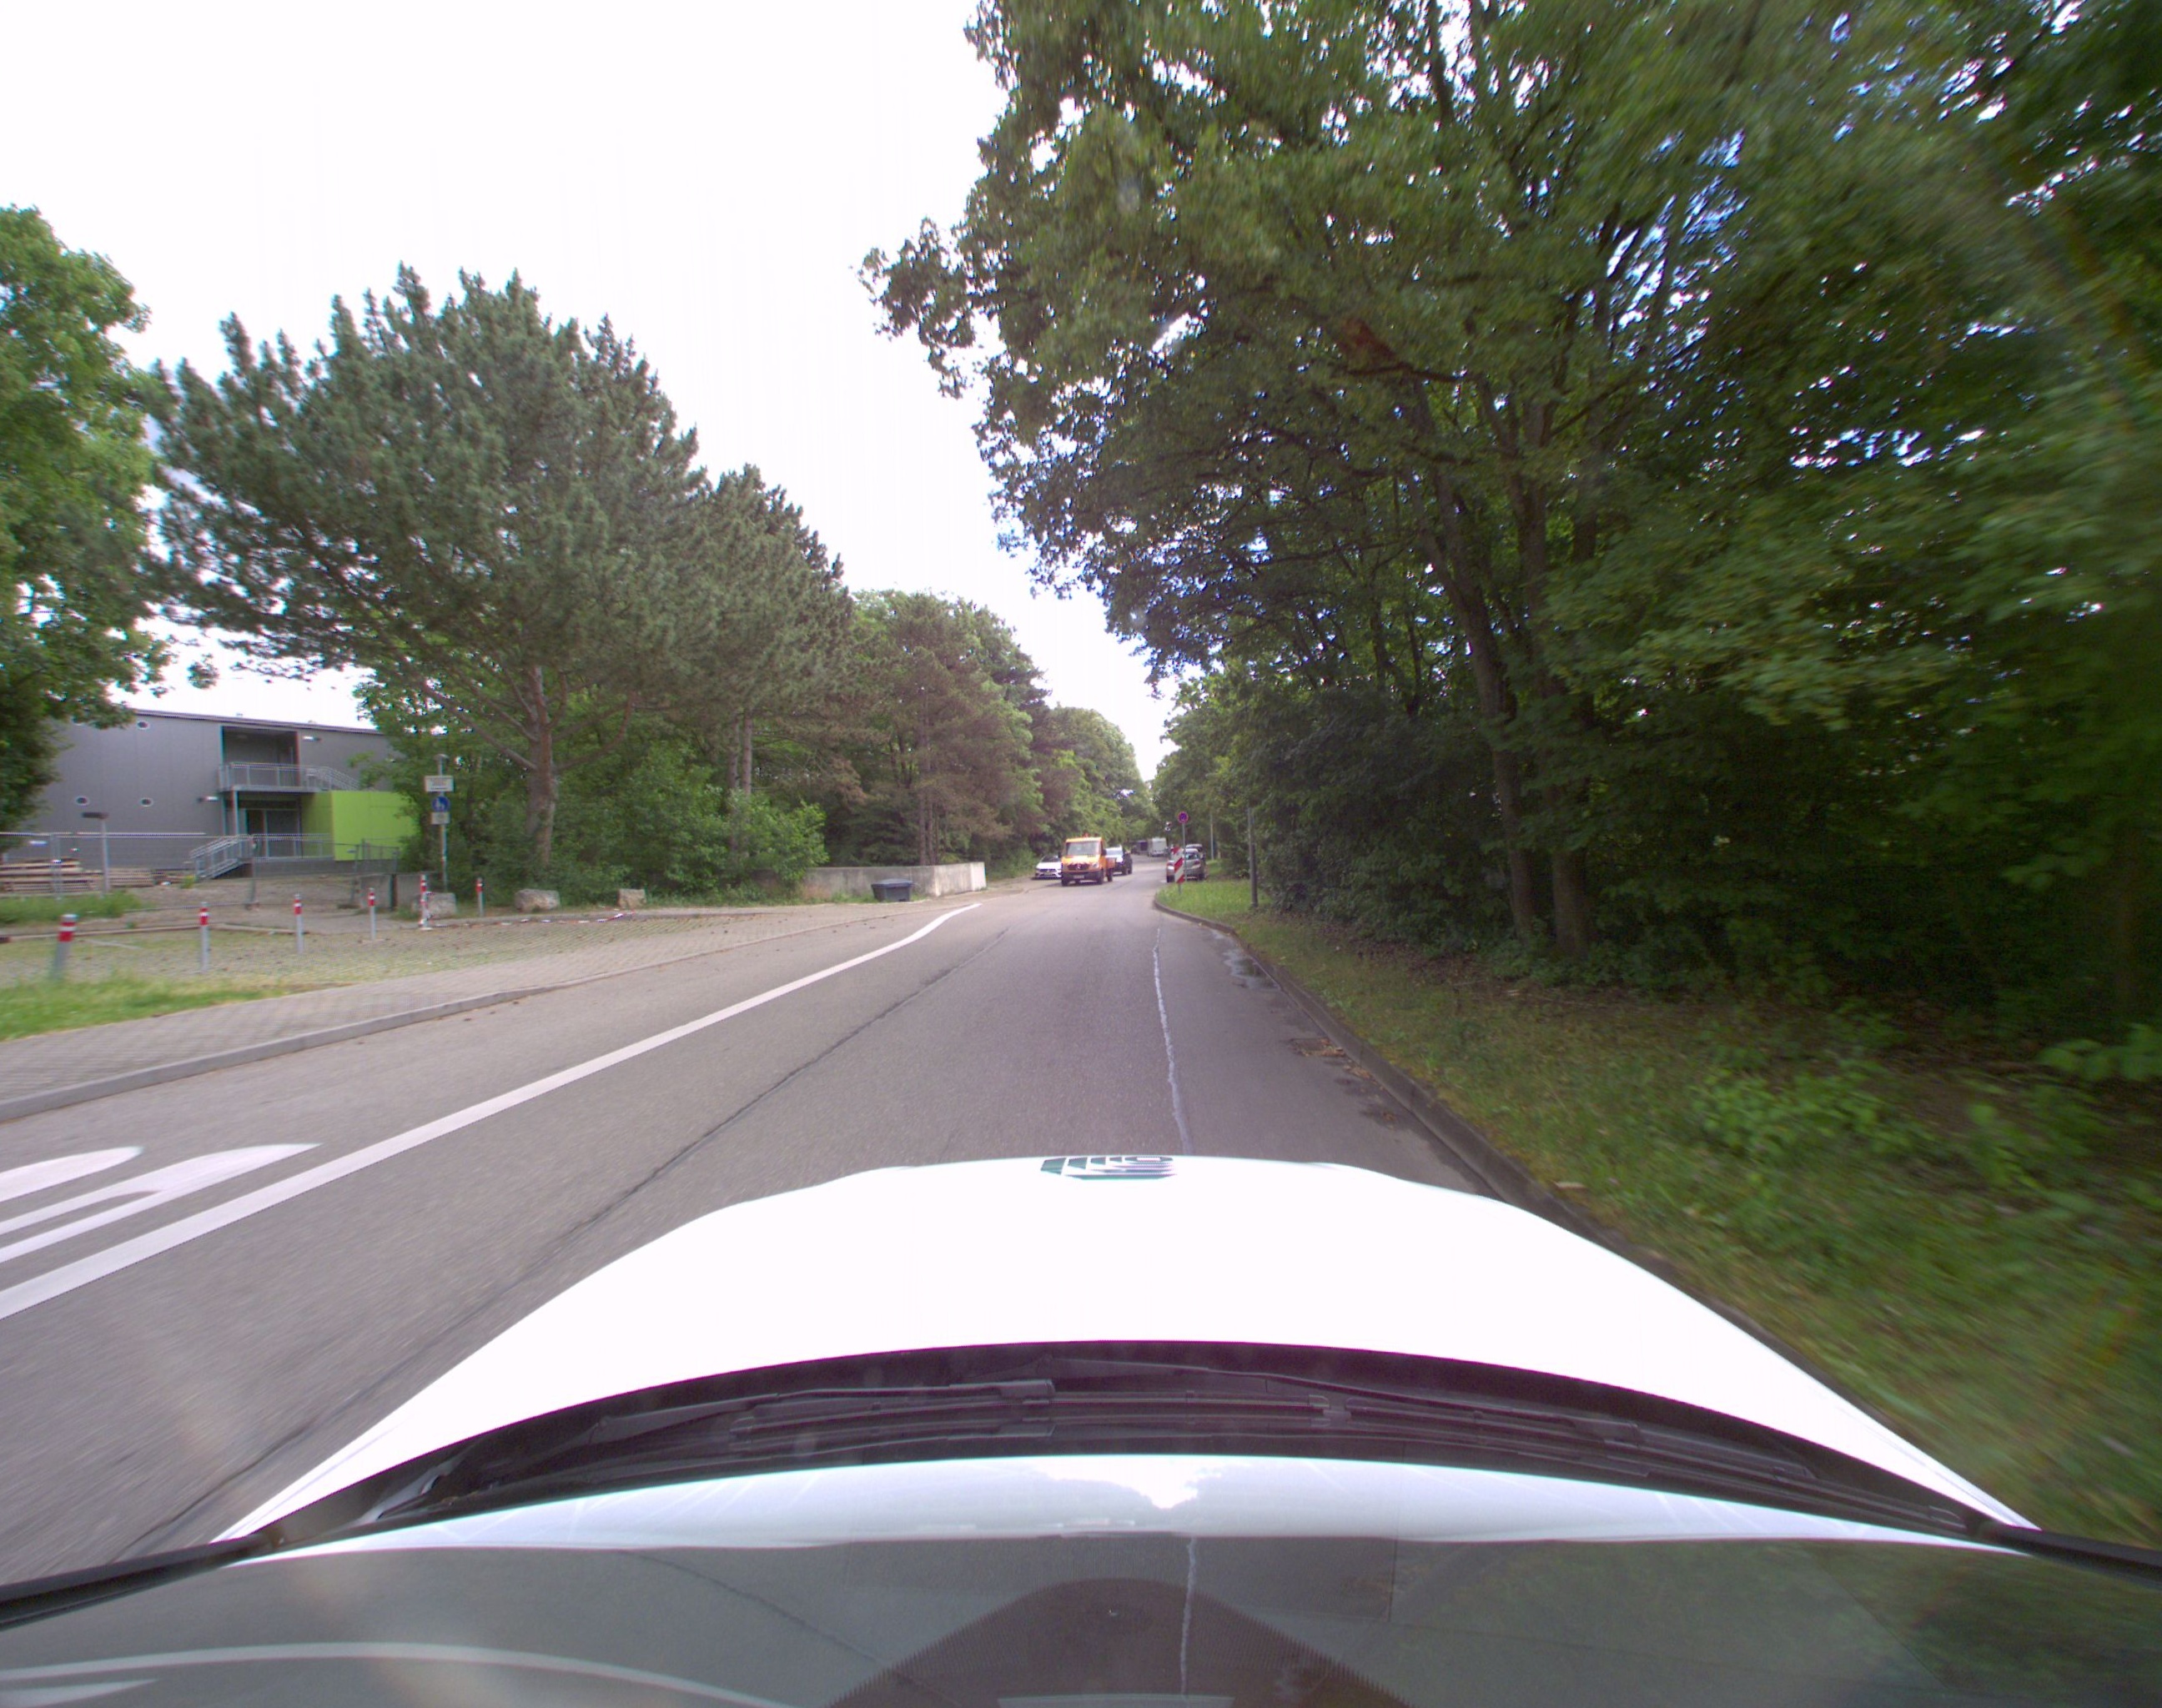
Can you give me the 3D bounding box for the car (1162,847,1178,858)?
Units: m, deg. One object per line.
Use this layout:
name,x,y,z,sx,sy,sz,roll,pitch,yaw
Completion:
car,13.094,-0.222,119.836,1.795,1.562,3.833,-3,1,-2

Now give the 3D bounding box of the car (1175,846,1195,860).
car,13.300,-0.126,104.449,1.787,1.670,4.499,-3,-1,-1

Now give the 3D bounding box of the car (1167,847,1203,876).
car,5.999,0.398,46.803,1.875,1.507,5.188,-3,0,8

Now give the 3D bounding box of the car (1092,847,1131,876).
car,2.061,0.458,53.306,1.983,1.735,5.347,-2,0,7

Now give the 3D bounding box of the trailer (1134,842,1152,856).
trailer,10.735,-0.888,141.024,1.995,2.398,3.984,-3,0,-12

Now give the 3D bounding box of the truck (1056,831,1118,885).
truck,0.411,0.163,40.659,2.309,2.470,6.033,0,1,7

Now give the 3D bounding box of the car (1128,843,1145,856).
car,9.948,-0.836,146.466,1.996,2.025,3.983,-6,3,-12

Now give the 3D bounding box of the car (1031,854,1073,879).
car,-1.693,0.730,49.124,1.796,1.403,4.381,-1,0,7

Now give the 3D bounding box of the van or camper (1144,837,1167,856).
van or camper,11.858,-1.115,130.297,2.477,2.876,6.880,-3,0,-4

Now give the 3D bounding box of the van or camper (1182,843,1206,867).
van or camper,9.439,0.109,68.085,1.792,1.838,4.329,-2,-1,8

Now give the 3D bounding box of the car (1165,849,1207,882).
car,5.107,0.512,39.394,1.782,1.411,4.070,-3,0,9

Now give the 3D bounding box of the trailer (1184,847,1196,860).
trailer,13.122,-0.058,98.076,1.273,1.585,2.463,-2,0,4

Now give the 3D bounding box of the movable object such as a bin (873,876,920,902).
movable object such as a bin,-5.712,1.079,25.185,1.151,0.760,1.039,0,-1,-30

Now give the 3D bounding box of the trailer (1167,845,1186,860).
trailer,12.959,-0.278,110.457,1.972,1.811,5.149,-3,1,1
